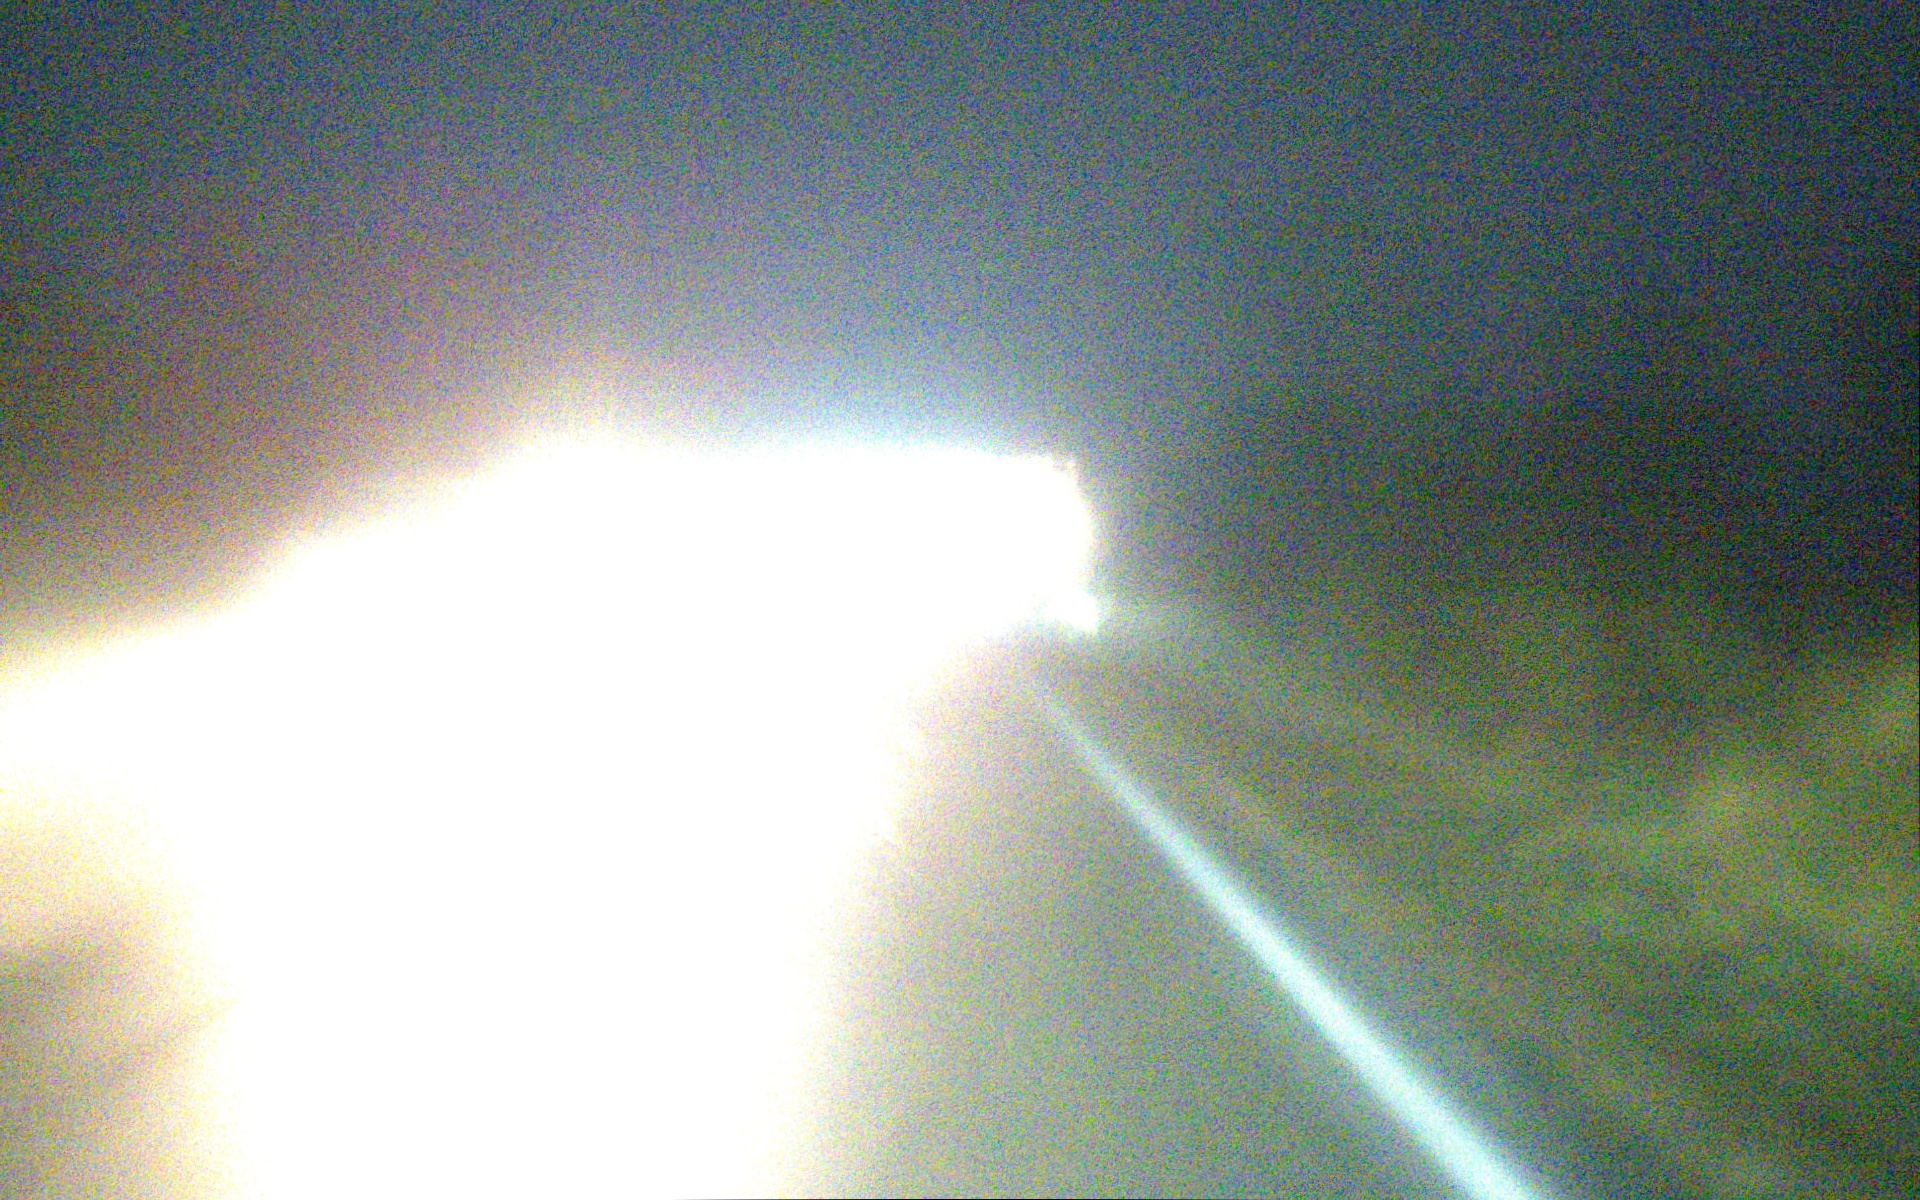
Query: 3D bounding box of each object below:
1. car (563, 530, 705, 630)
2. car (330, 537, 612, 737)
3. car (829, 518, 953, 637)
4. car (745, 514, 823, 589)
[{"bbox_3d":[-5.013,-0.319,53.268,1.819,1.436,4.000,2,0,0],"label":"car"},{"bbox_3d":[-4.366,0.298,31.267,1.993,1.655,4.000,2,0,0],"label":"car"},{"bbox_3d":[-1.142,-0.397,55.414,1.842,1.734,4.001,2,2,-3],"label":"car"},{"bbox_3d":[-4.740,-1.299,93.074,1.803,1.921,4.000,2,0,1],"label":"car"}]
